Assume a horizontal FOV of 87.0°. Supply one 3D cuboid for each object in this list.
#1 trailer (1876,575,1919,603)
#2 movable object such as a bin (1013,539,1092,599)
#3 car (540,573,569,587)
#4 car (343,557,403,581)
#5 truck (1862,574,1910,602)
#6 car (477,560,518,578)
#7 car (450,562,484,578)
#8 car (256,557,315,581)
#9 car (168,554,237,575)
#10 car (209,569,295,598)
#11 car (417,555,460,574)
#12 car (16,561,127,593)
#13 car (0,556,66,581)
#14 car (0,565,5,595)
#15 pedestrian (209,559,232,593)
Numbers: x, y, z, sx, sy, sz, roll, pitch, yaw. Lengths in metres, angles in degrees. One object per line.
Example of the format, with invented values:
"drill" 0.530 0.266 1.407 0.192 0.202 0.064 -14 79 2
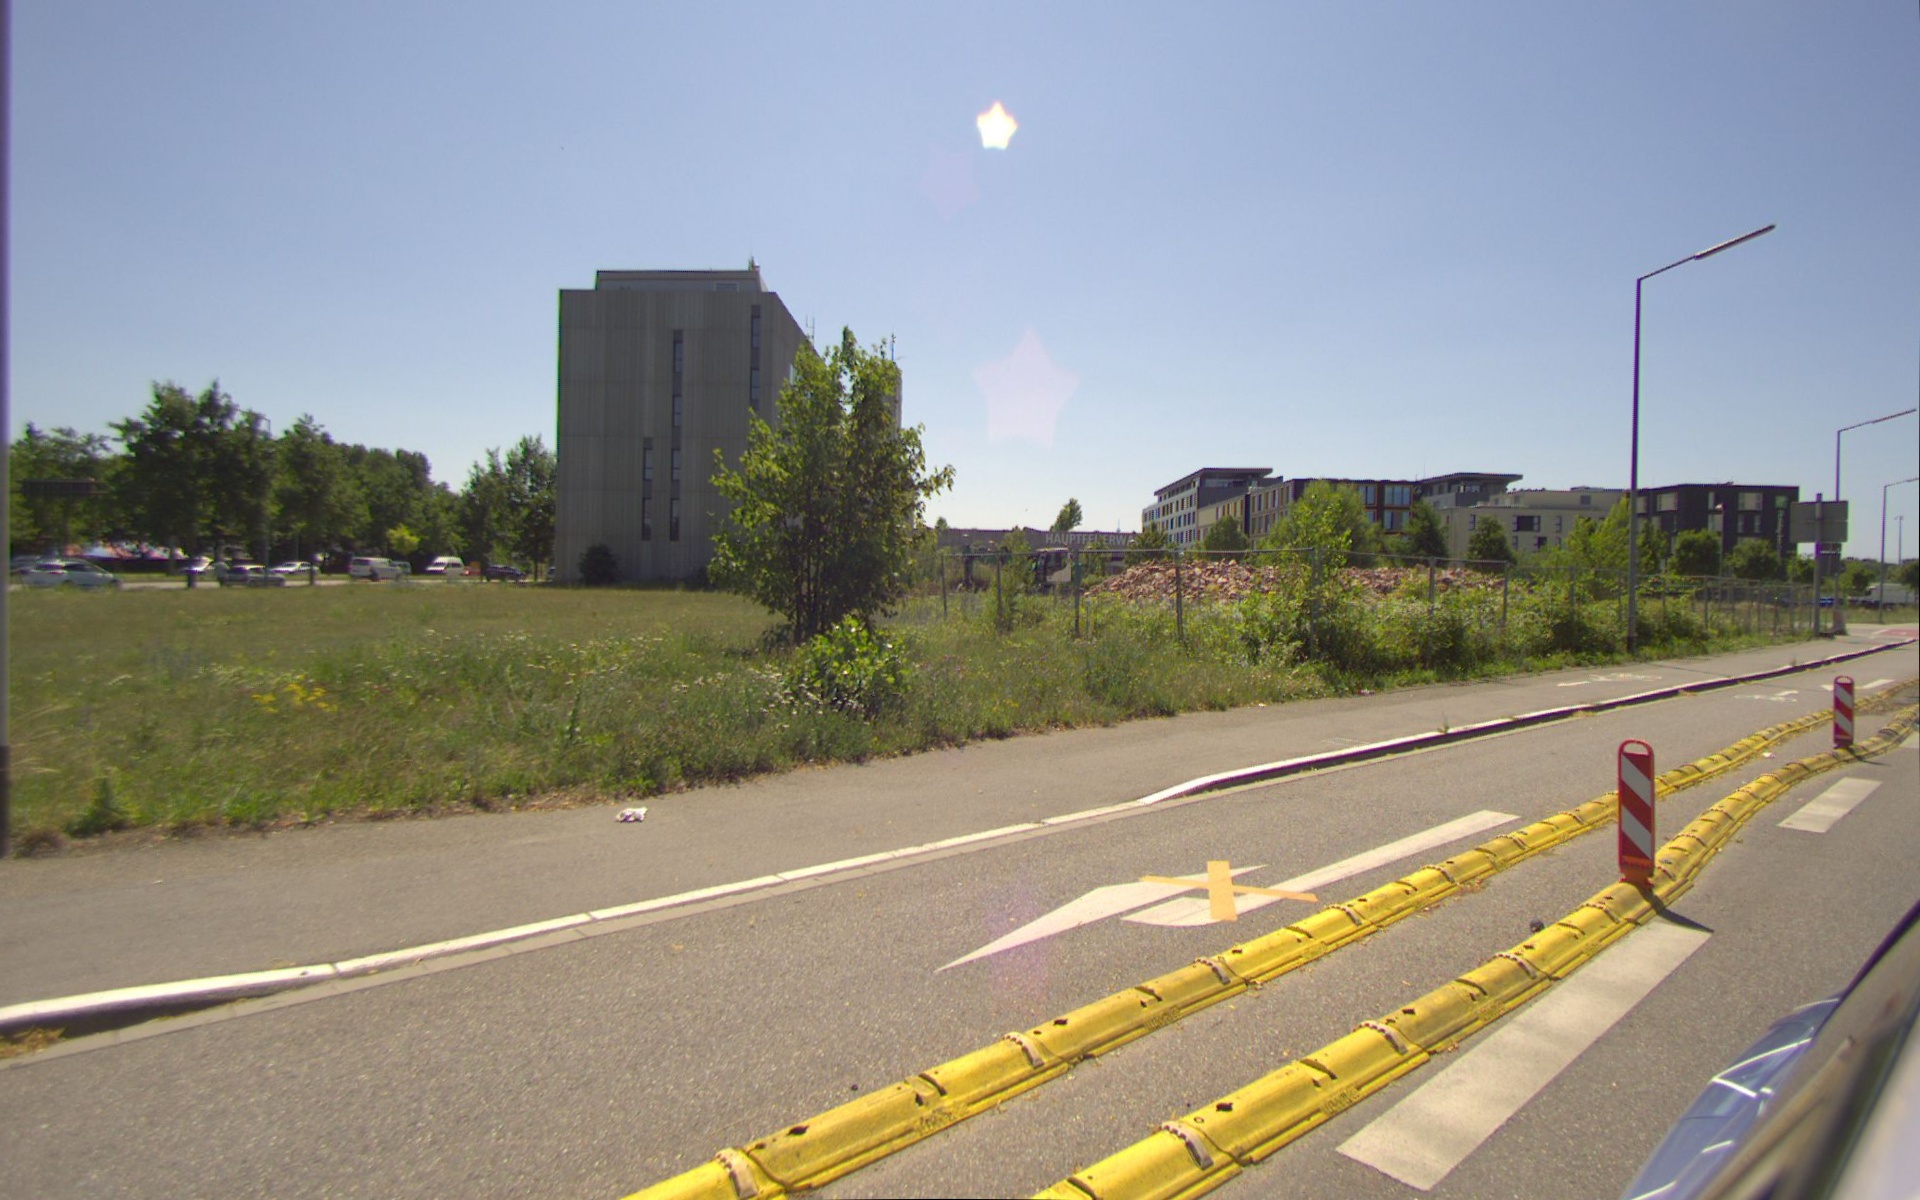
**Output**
"trailer" 119.652 -1.371 126.412 8.030 3.390 1.998 1 1 4
"movable object such as a bin" 4.927 -1.600 53.954 3.619 3.101 2.207 0 1 -35
"car" -47.796 -2.383 119.359 1.708 1.571 3.999 0 1 1
"car" -47.693 -2.504 82.346 1.963 1.873 4.985 0 1 2
"truck" 115.856 -1.491 126.709 3.928 3.377 1.998 1 1 4
"car" -44.853 -3.006 98.329 1.962 1.616 4.447 0 1 0
"car" -60.923 -3.671 125.105 1.963 1.873 4.603 0 1 2
"car" -58.484 -2.679 87.842 1.963 2.001 4.571 0 1 2
"car" -61.678 -2.841 82.501 1.963 1.590 4.779 0 1 2
"car" -42.870 -0.995 61.441 1.961 1.727 4.942 0 1 -3
"car" -58.032 -3.923 112.753 1.963 2.039 5.083 0 1 2
"car" -42.723 -1.109 48.789 1.604 1.462 4.015 0 1 6
"car" -61.681 -2.036 66.825 1.708 1.571 3.999 0 1 1
"car" -46.439 -0.923 46.200 1.961 1.425 4.001 0 1 -1
"pedestrian" -33.857 -1.097 46.335 0.489 1.583 0.737 0 0 -1
